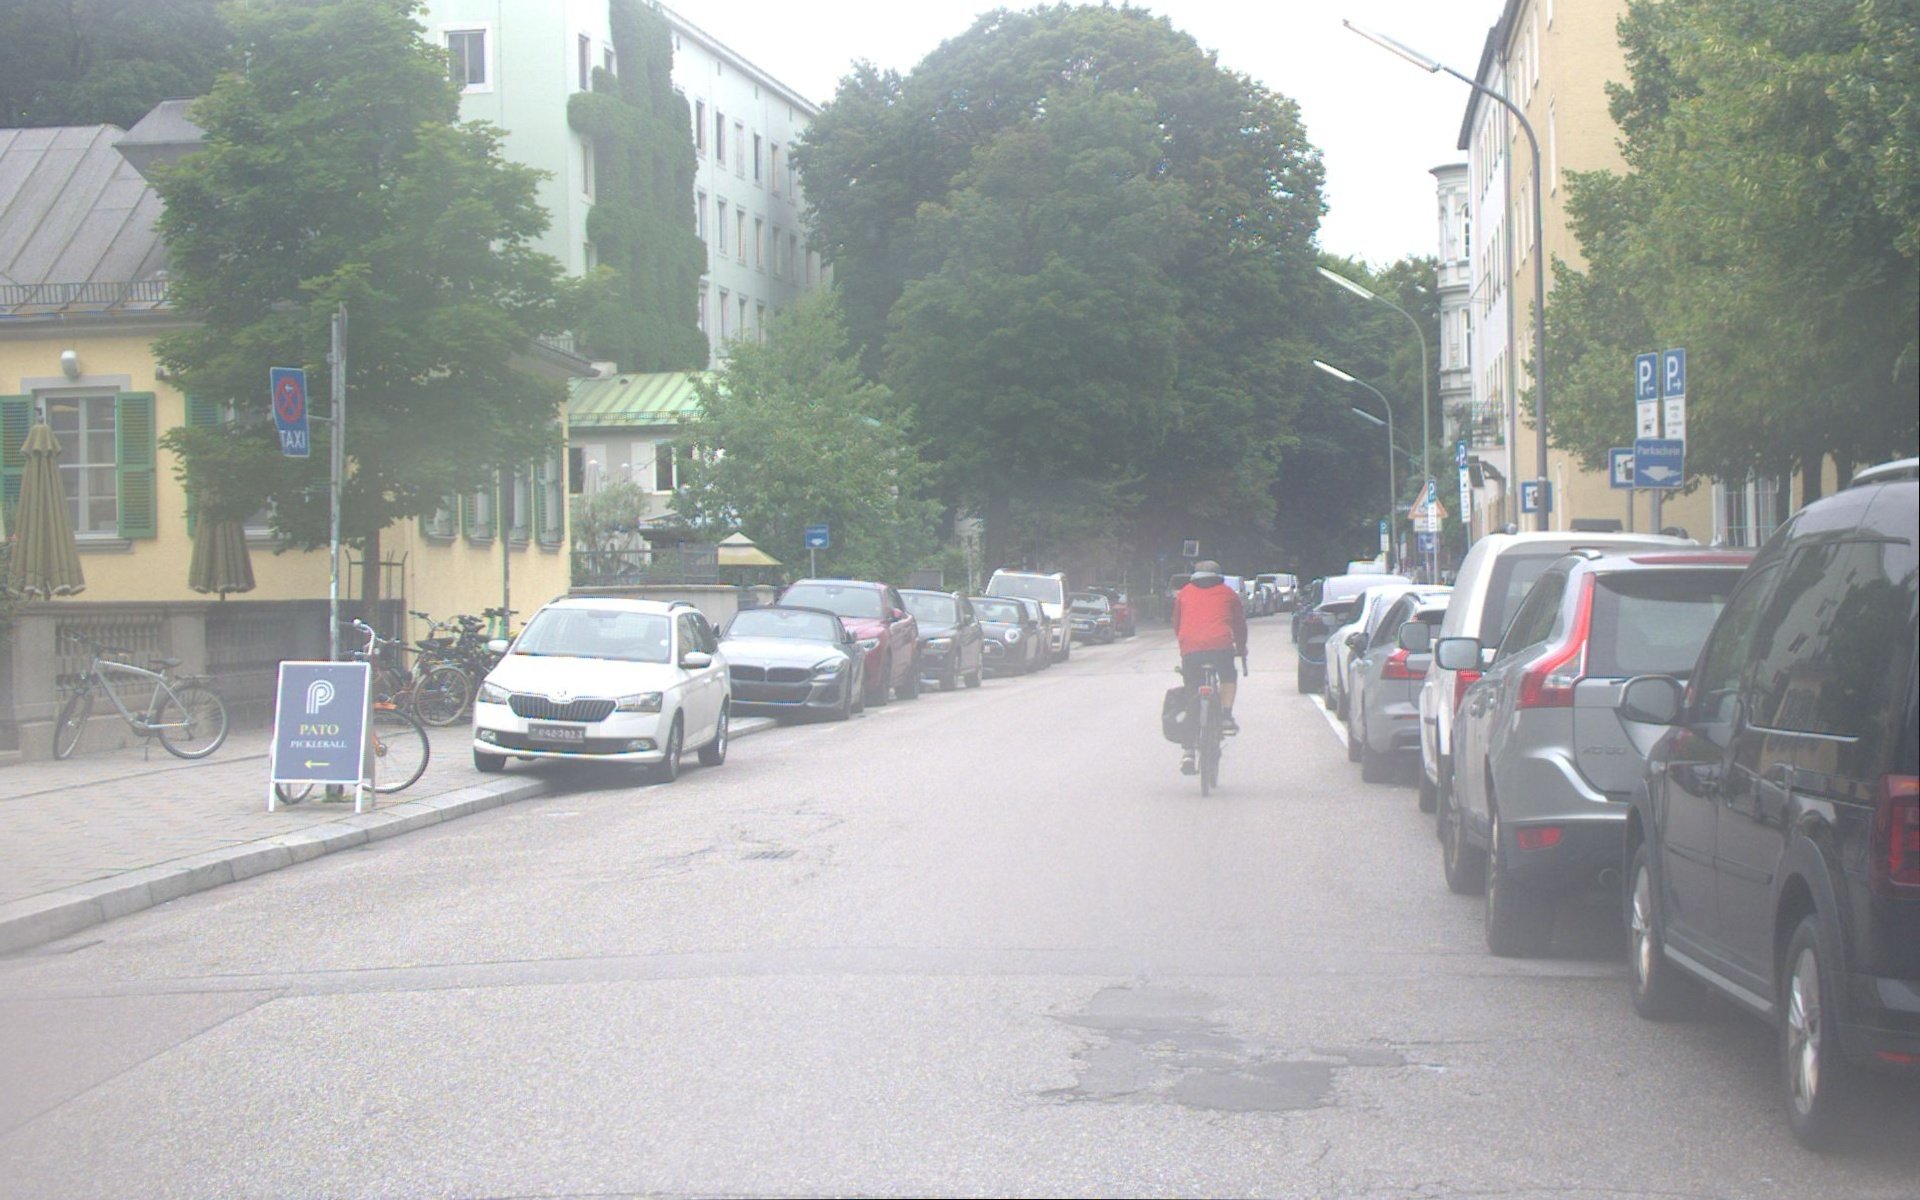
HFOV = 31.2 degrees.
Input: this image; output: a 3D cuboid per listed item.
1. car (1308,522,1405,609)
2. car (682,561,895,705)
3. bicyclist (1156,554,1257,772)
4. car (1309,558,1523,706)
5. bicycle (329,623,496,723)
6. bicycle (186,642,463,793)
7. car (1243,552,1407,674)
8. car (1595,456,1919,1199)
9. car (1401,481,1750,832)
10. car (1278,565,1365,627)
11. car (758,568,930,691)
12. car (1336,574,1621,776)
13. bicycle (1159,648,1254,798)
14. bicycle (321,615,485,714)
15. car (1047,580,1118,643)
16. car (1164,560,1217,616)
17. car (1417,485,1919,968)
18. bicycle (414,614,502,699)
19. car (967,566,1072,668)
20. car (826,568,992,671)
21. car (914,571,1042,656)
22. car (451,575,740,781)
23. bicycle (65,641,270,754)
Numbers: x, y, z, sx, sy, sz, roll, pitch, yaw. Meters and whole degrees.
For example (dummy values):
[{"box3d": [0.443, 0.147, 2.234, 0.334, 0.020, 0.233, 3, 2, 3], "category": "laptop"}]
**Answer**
[{"box3d": [9.628, -0.842, 83.836, 1.994, 2.053, 4.623, 0, 1, 2], "category": "car"}, {"box3d": [-2.026, 0.357, 42.042, 1.994, 1.643, 4.654, -1, 1, 5], "category": "car"}, {"box3d": [1.749, 0.442, 24.294, 0.672, 1.492, 1.094, -1, -1, 5], "category": "bicyclist"}, {"box3d": [5.020, 0.314, 38.320, 1.994, 1.547, 4.000, 0, 1, 2], "category": "car"}, {"box3d": [-5.756, 0.764, 36.147, 1.613, 1.001, 0.623, -1, -1, -22], "category": "bicycle"}, {"box3d": [-4.602, 0.834, 25.033, 0.623, 1.001, 2.136, 2, 1, 35], "category": "bicycle"}, {"box3d": [5.018, 0.154, 47.709, 1.994, 1.612, 4.000, 0, 1, 2], "category": "car"}, {"box3d": [3.104, 0.534, 10.301, 1.760, 1.817, 4.139, 0, 1, 2], "category": "car"}, {"box3d": [3.705, 0.290, 21.314, 1.750, 1.936, 4.227, -1, 1, 5], "category": "car"}, {"box3d": [9.374, -0.115, 89.443, 1.994, 1.547, 4.000, 0, 1, 2], "category": "car"}, {"box3d": [-1.537, 0.394, 47.105, 1.994, 1.597, 3.999, -1, 0, 3], "category": "car"}, {"box3d": [3.958, 0.521, 26.843, 1.863, 1.435, 4.255, 0, 1, 4], "category": "car"}, {"box3d": [1.757, 0.846, 24.363, 0.621, 1.001, 2.139, -1, -1, 5], "category": "bicycle"}, {"box3d": [-6.065, 0.699, 37.455, 1.613, 1.001, 0.623, -2, 0, -33], "category": "bicycle"}, {"box3d": [3.435, 0.305, 96.144, 1.810, 1.677, 4.000, -1, 1, 4], "category": "car"}, {"box3d": [8.964, -0.480, 133.641, 1.994, 2.091, 4.000, 2, 1, 4], "category": "car"}, {"box3d": [3.086, 0.445, 15.130, 1.863, 1.788, 4.509, -1, 1, 5], "category": "car"}, {"box3d": [-6.025, 0.678, 41.338, 0.622, 1.001, 1.618, 0, -1, 8], "category": "bicycle"}, {"box3d": [1.305, 0.342, 73.450, 1.994, 2.072, 4.000, -1, 1, 4], "category": "car"}, {"box3d": [-0.758, 0.275, 54.057, 1.994, 1.481, 3.999, 1, 1, 8], "category": "car"}, {"box3d": [0.378, 0.234, 64.896, 1.994, 1.481, 3.999, -1, 1, 6], "category": "car"}, {"box3d": [-3.054, 0.610, 29.485, 1.734, 1.576, 3.787, 2, 1, 5], "category": "car"}, {"box3d": [-6.796, 0.827, 29.488, 1.613, 0.922, 0.651, -1, -1, -22], "category": "bicycle"}]
